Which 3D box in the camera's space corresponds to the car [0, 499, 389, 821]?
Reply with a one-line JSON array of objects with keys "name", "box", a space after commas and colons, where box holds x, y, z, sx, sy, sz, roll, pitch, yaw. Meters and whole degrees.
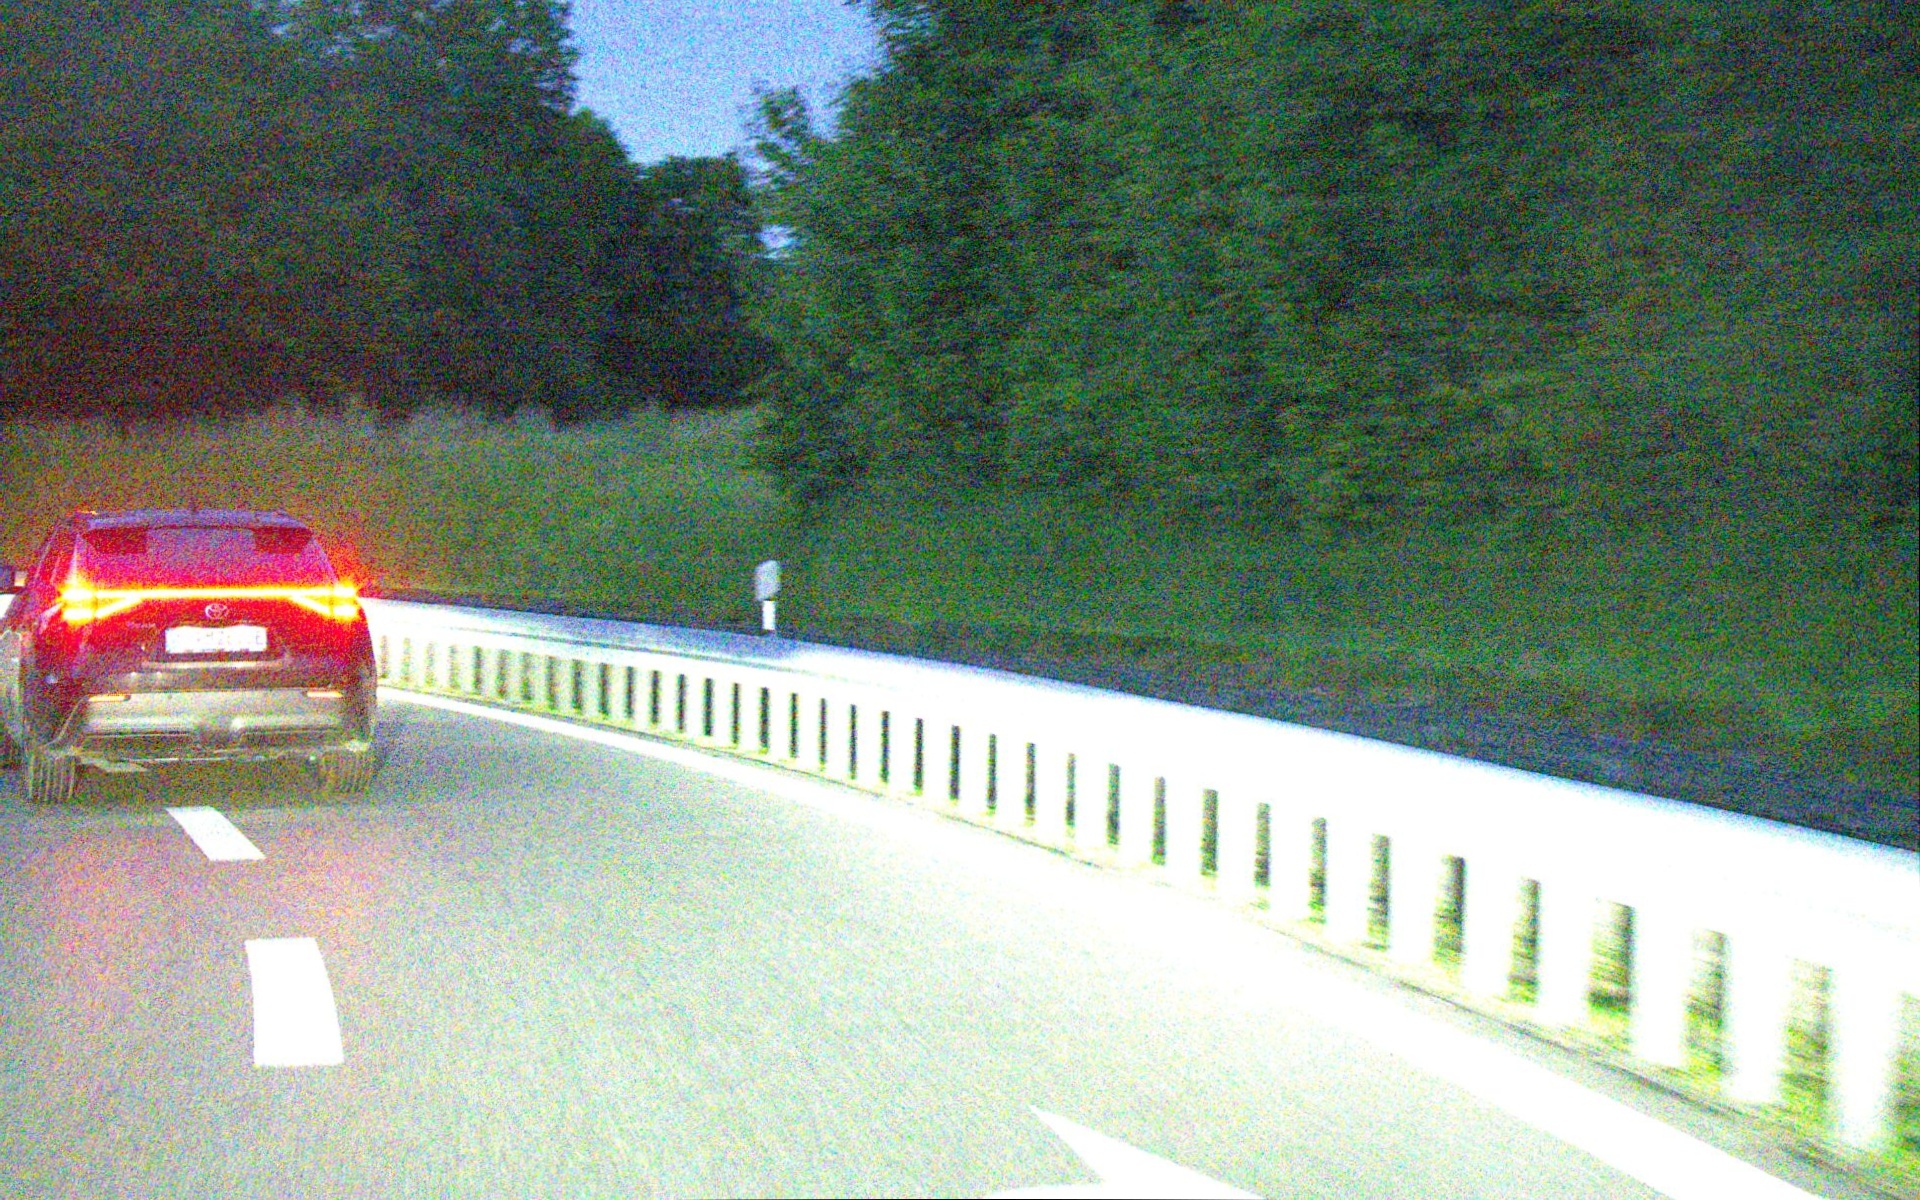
[{"name": "car", "box": [-4.629, 0.248, 19.995, 1.900, 1.614, 4.558, -1, 2, -18]}]
